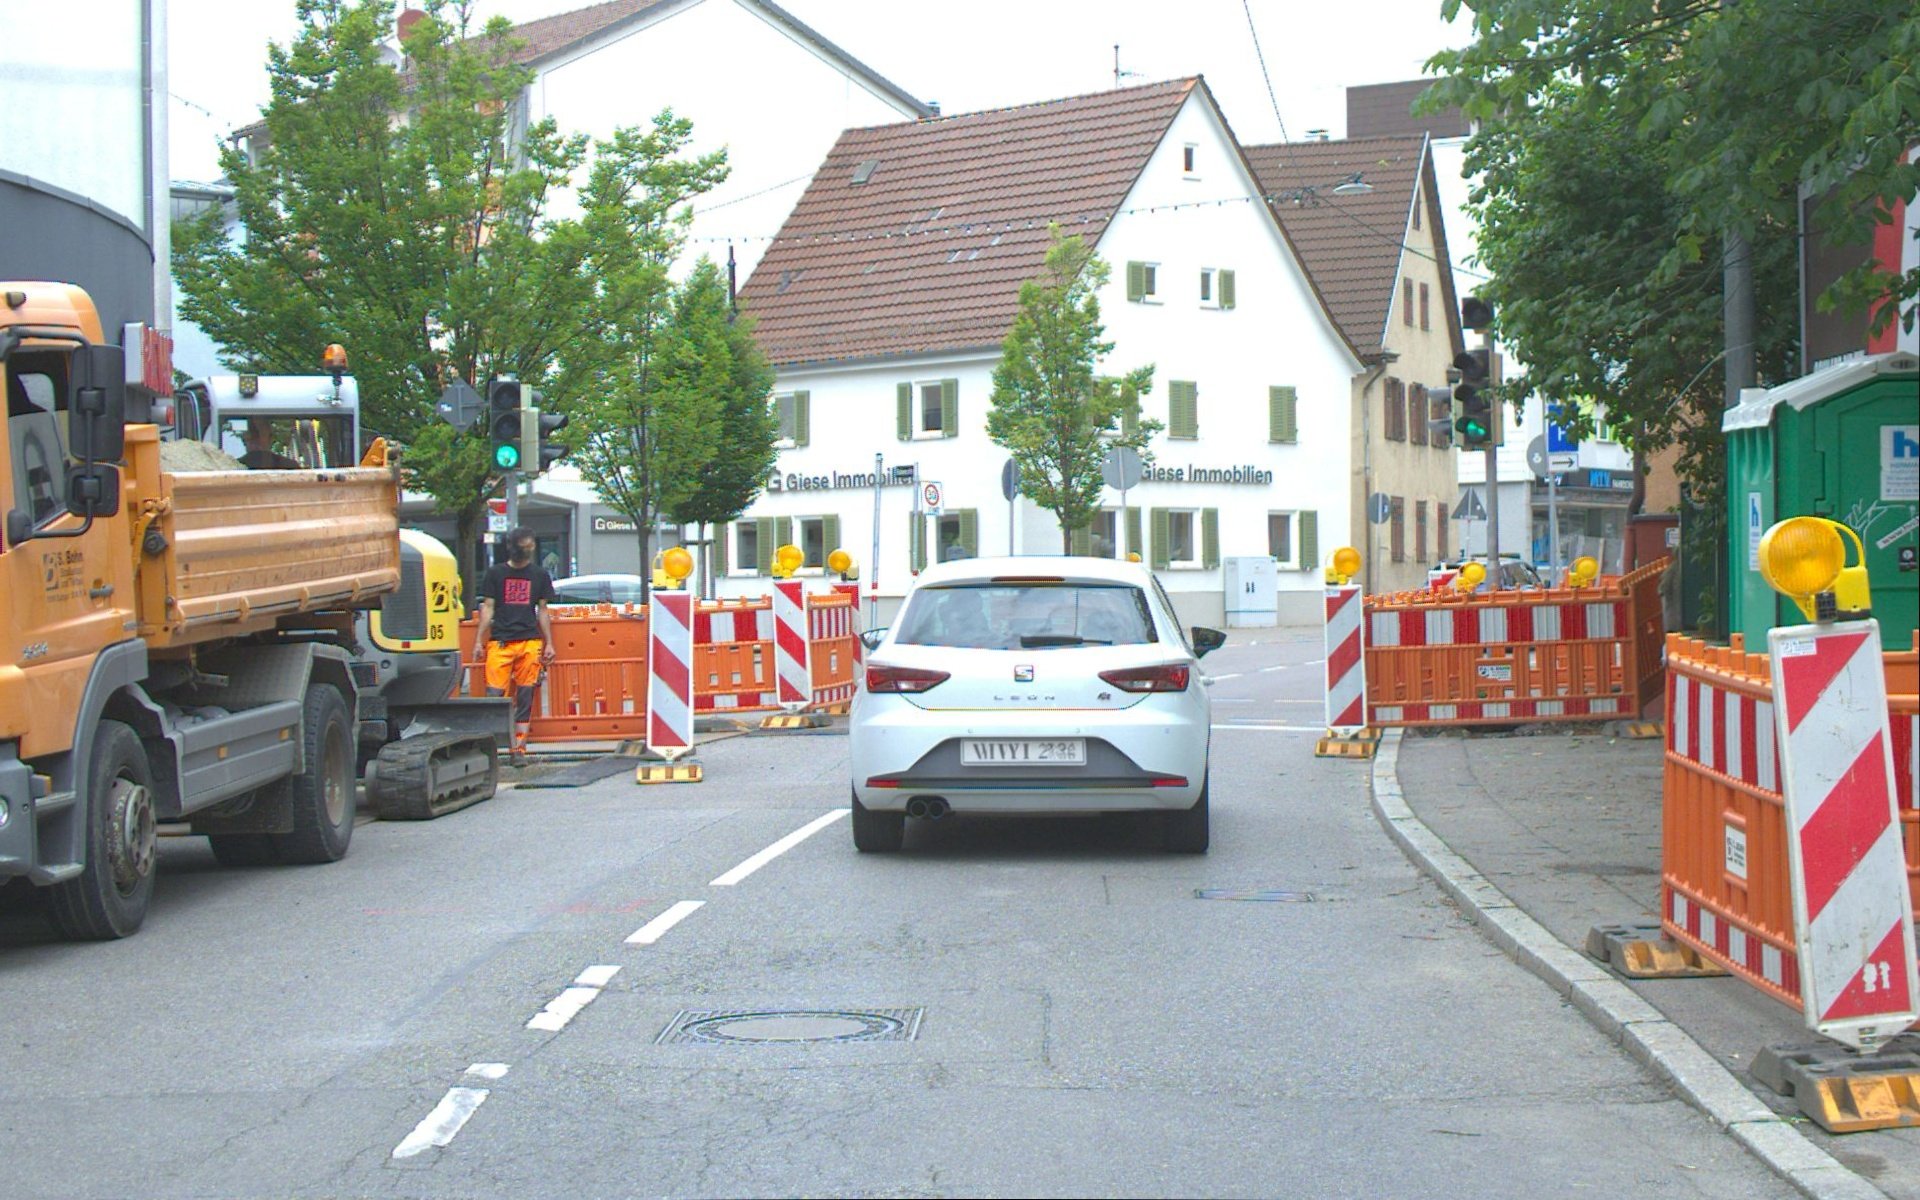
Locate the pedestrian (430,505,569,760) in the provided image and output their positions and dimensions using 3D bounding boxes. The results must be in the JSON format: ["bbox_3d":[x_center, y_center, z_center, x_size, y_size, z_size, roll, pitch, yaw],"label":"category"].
[{"bbox_3d":[-3.320,0.230,24.836,0.814,1.809,0.743,0,1,7],"label":"pedestrian"}]

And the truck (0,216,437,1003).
[{"bbox_3d":[-4.450,-0.041,15.327,2.731,2.715,6.847,-1,1,4],"label":"truck"}]

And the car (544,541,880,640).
[{"bbox_3d":[-3.811,-0.165,53.413,4.903,1.472,2.249,0,1,5],"label":"car"}]

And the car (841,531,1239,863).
[{"bbox_3d":[0.374,0.409,17.787,1.811,1.475,3.871,1,2,0],"label":"car"}]

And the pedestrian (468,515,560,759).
[{"bbox_3d":[-3.217,0.264,24.823,0.537,1.738,0.443,-1,1,8],"label":"pedestrian"}]

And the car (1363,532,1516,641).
[{"bbox_3d":[7.086,-0.229,50.540,1.812,1.475,3.868,-1,2,14],"label":"car"}]

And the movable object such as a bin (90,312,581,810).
[{"bbox_3d":[-3.746,-0.212,21.475,1.839,2.754,4.505,-1,0,5],"label":"movable object such as a bin"}]
